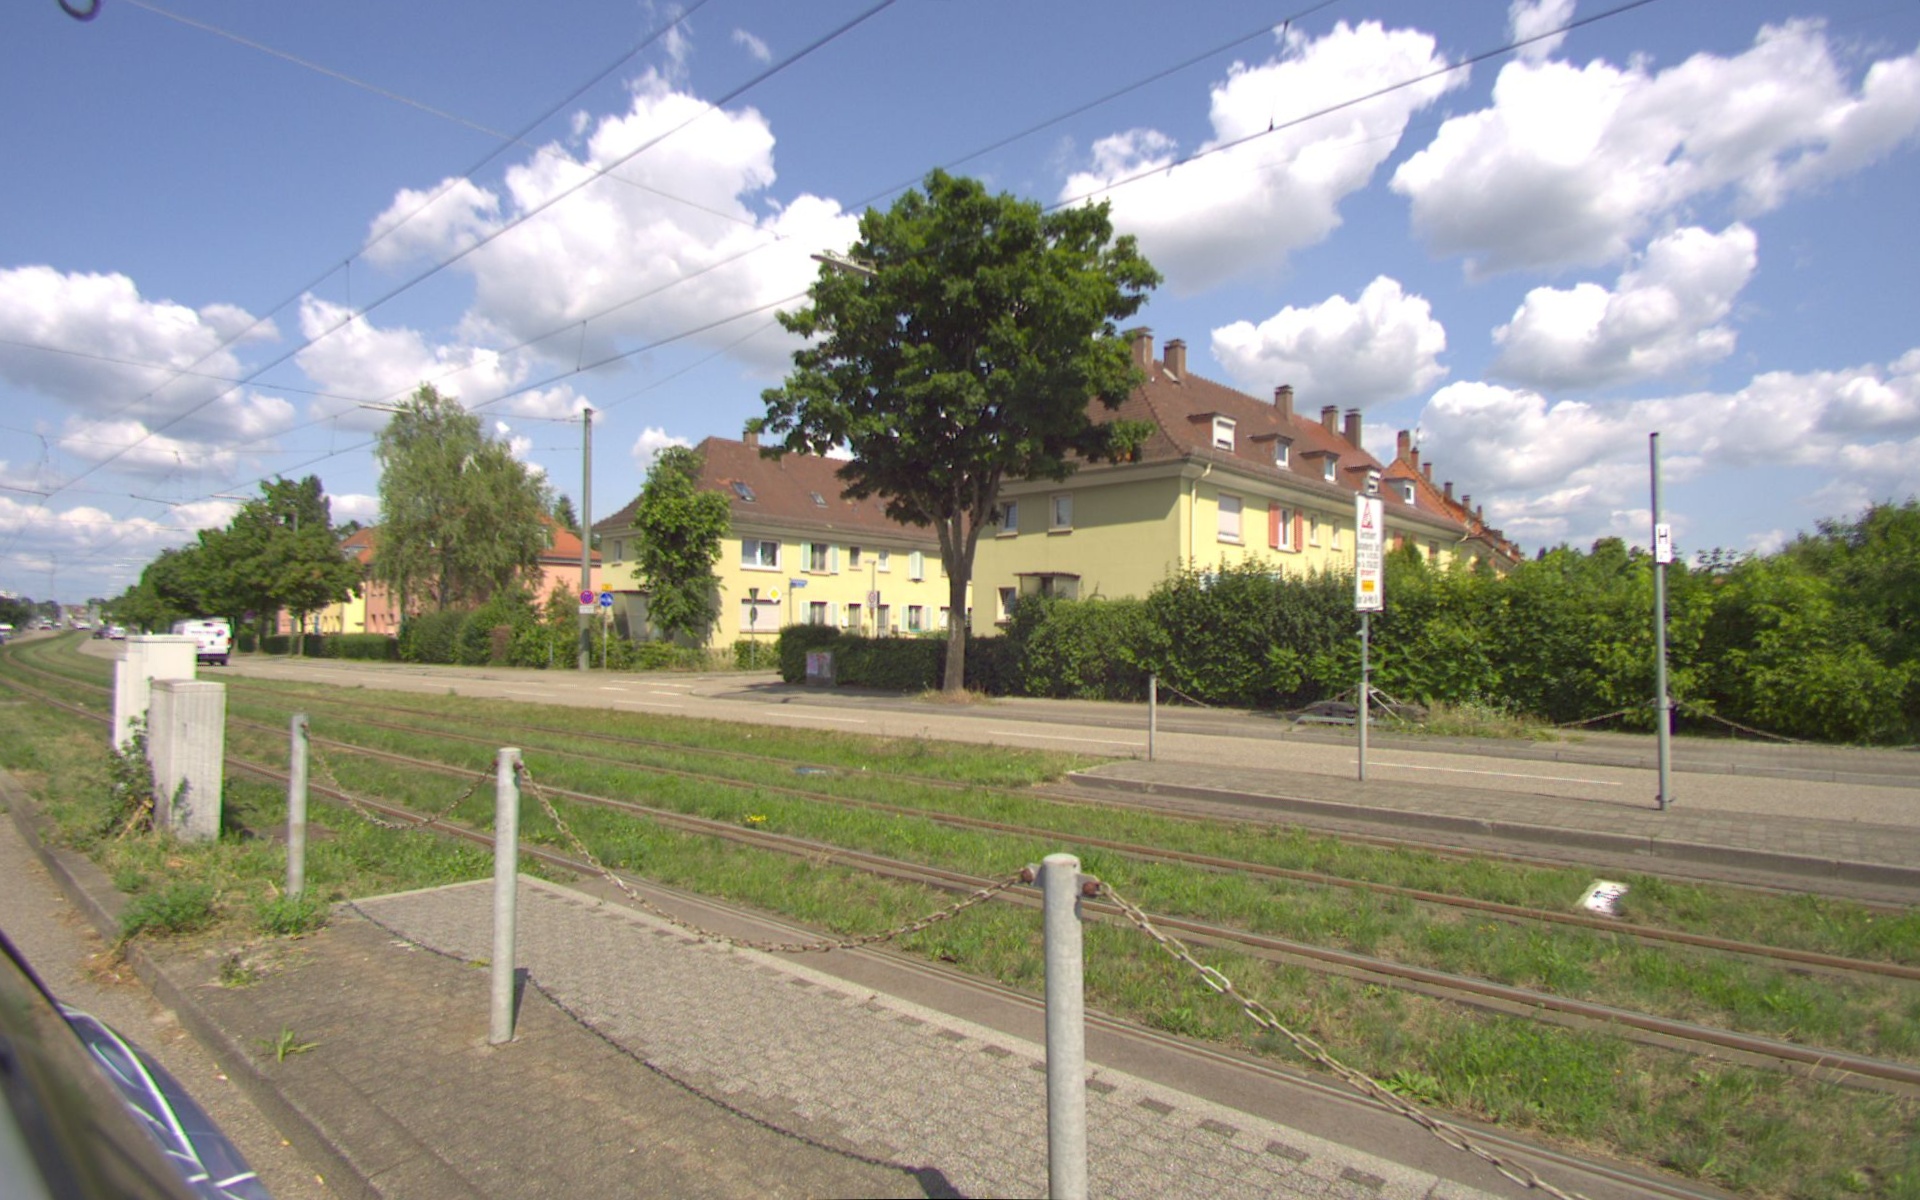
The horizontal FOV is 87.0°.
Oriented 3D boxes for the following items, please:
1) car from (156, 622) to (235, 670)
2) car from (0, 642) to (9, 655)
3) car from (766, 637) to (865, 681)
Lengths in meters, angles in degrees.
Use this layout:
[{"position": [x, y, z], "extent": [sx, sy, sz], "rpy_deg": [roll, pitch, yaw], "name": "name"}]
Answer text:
[{"position": [-40.353, 2.397, 53.372], "extent": [5.329, 2.390, 2.173], "rpy_deg": [-1, -4, 41], "name": "car"}, {"position": [-121.879, 6.139, 128.220], "extent": [1.970, 1.497, 4.004], "rpy_deg": [0, -1, -43], "name": "car"}, {"position": [-5.908, 2.439, 41.639], "extent": [1.823, 1.699, 3.701], "rpy_deg": [-3, -5, 42], "name": "car"}]
